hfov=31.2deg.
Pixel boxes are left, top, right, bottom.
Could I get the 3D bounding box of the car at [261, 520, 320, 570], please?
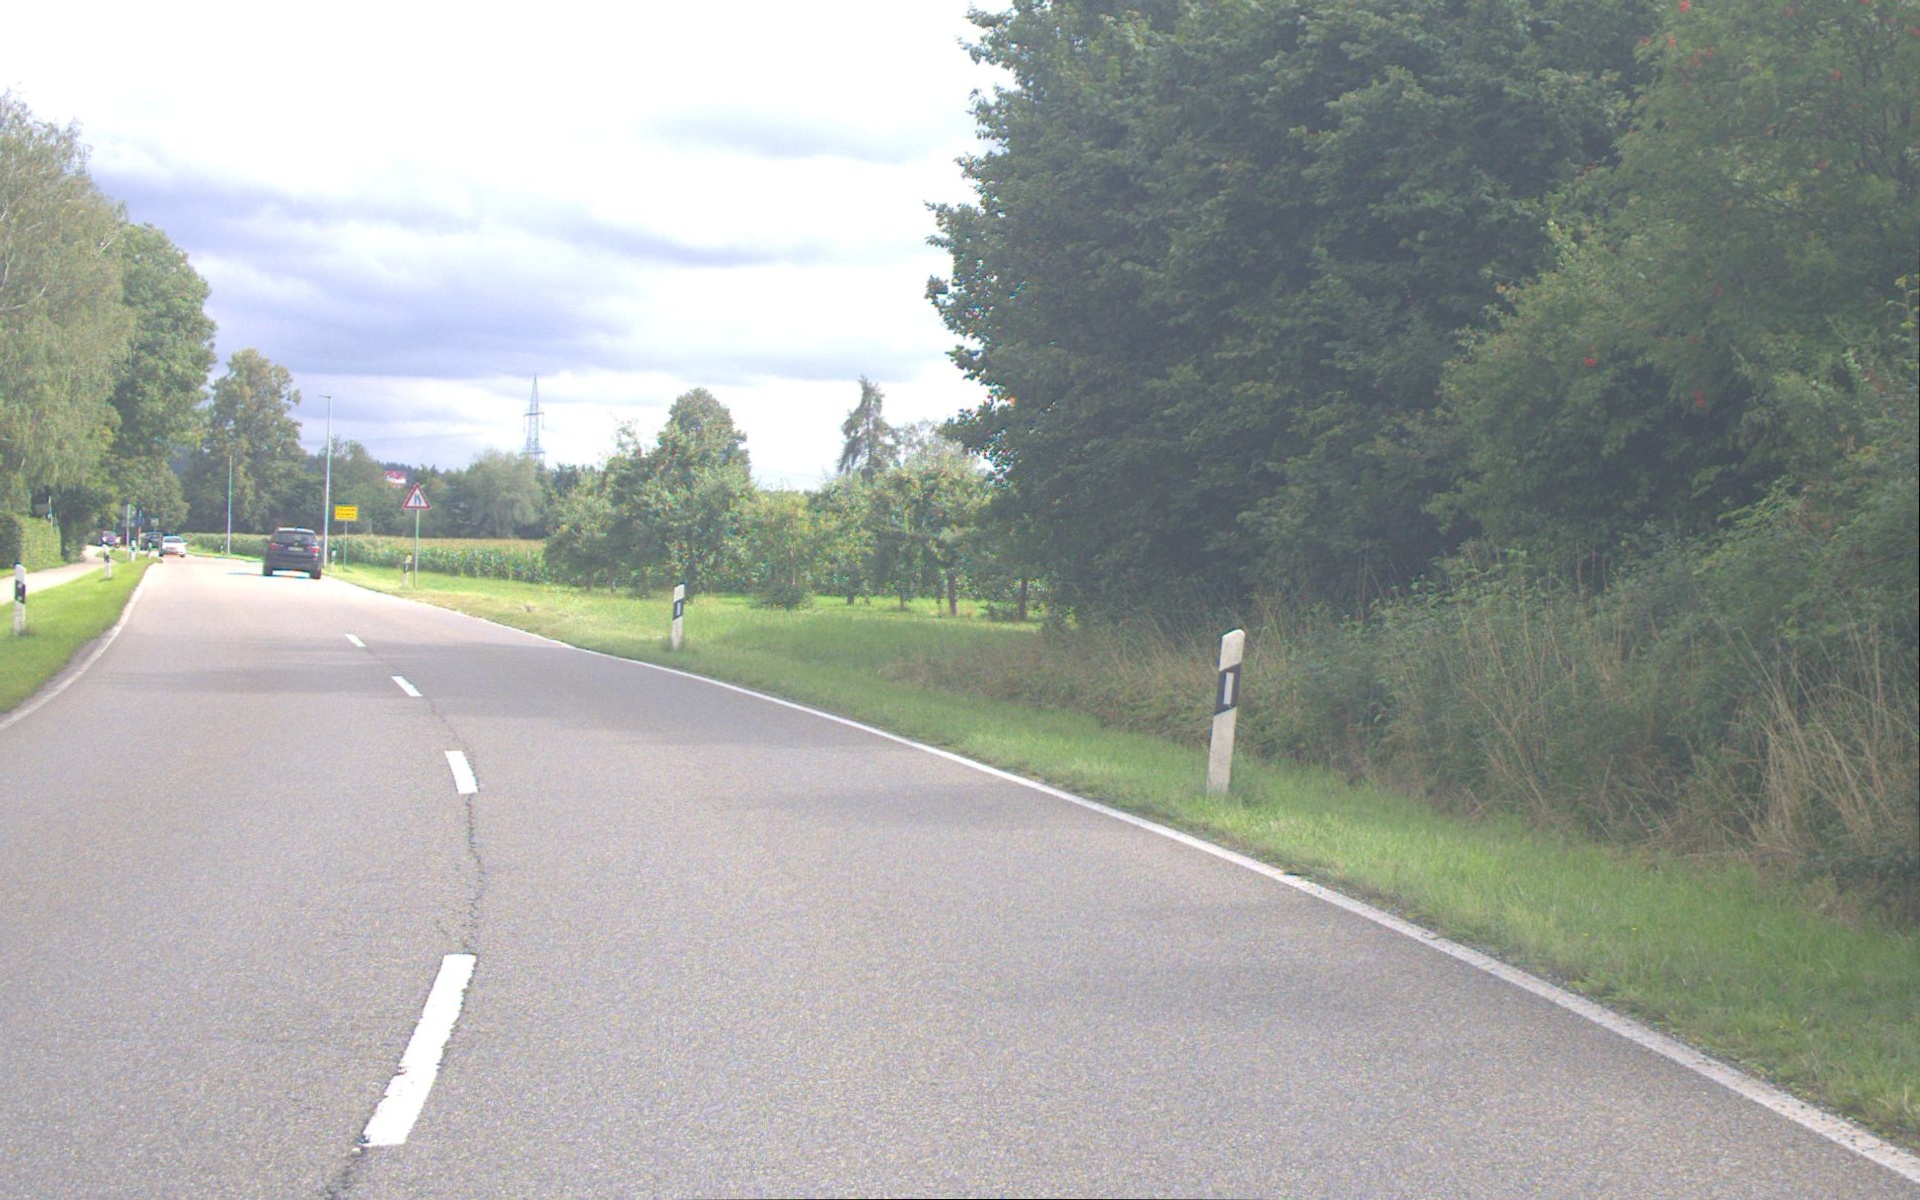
[{"bbox_3d":[-22.769,-1.872,116.956,1.906,1.661,4.001,1,1,-10],"label":"car"}]
